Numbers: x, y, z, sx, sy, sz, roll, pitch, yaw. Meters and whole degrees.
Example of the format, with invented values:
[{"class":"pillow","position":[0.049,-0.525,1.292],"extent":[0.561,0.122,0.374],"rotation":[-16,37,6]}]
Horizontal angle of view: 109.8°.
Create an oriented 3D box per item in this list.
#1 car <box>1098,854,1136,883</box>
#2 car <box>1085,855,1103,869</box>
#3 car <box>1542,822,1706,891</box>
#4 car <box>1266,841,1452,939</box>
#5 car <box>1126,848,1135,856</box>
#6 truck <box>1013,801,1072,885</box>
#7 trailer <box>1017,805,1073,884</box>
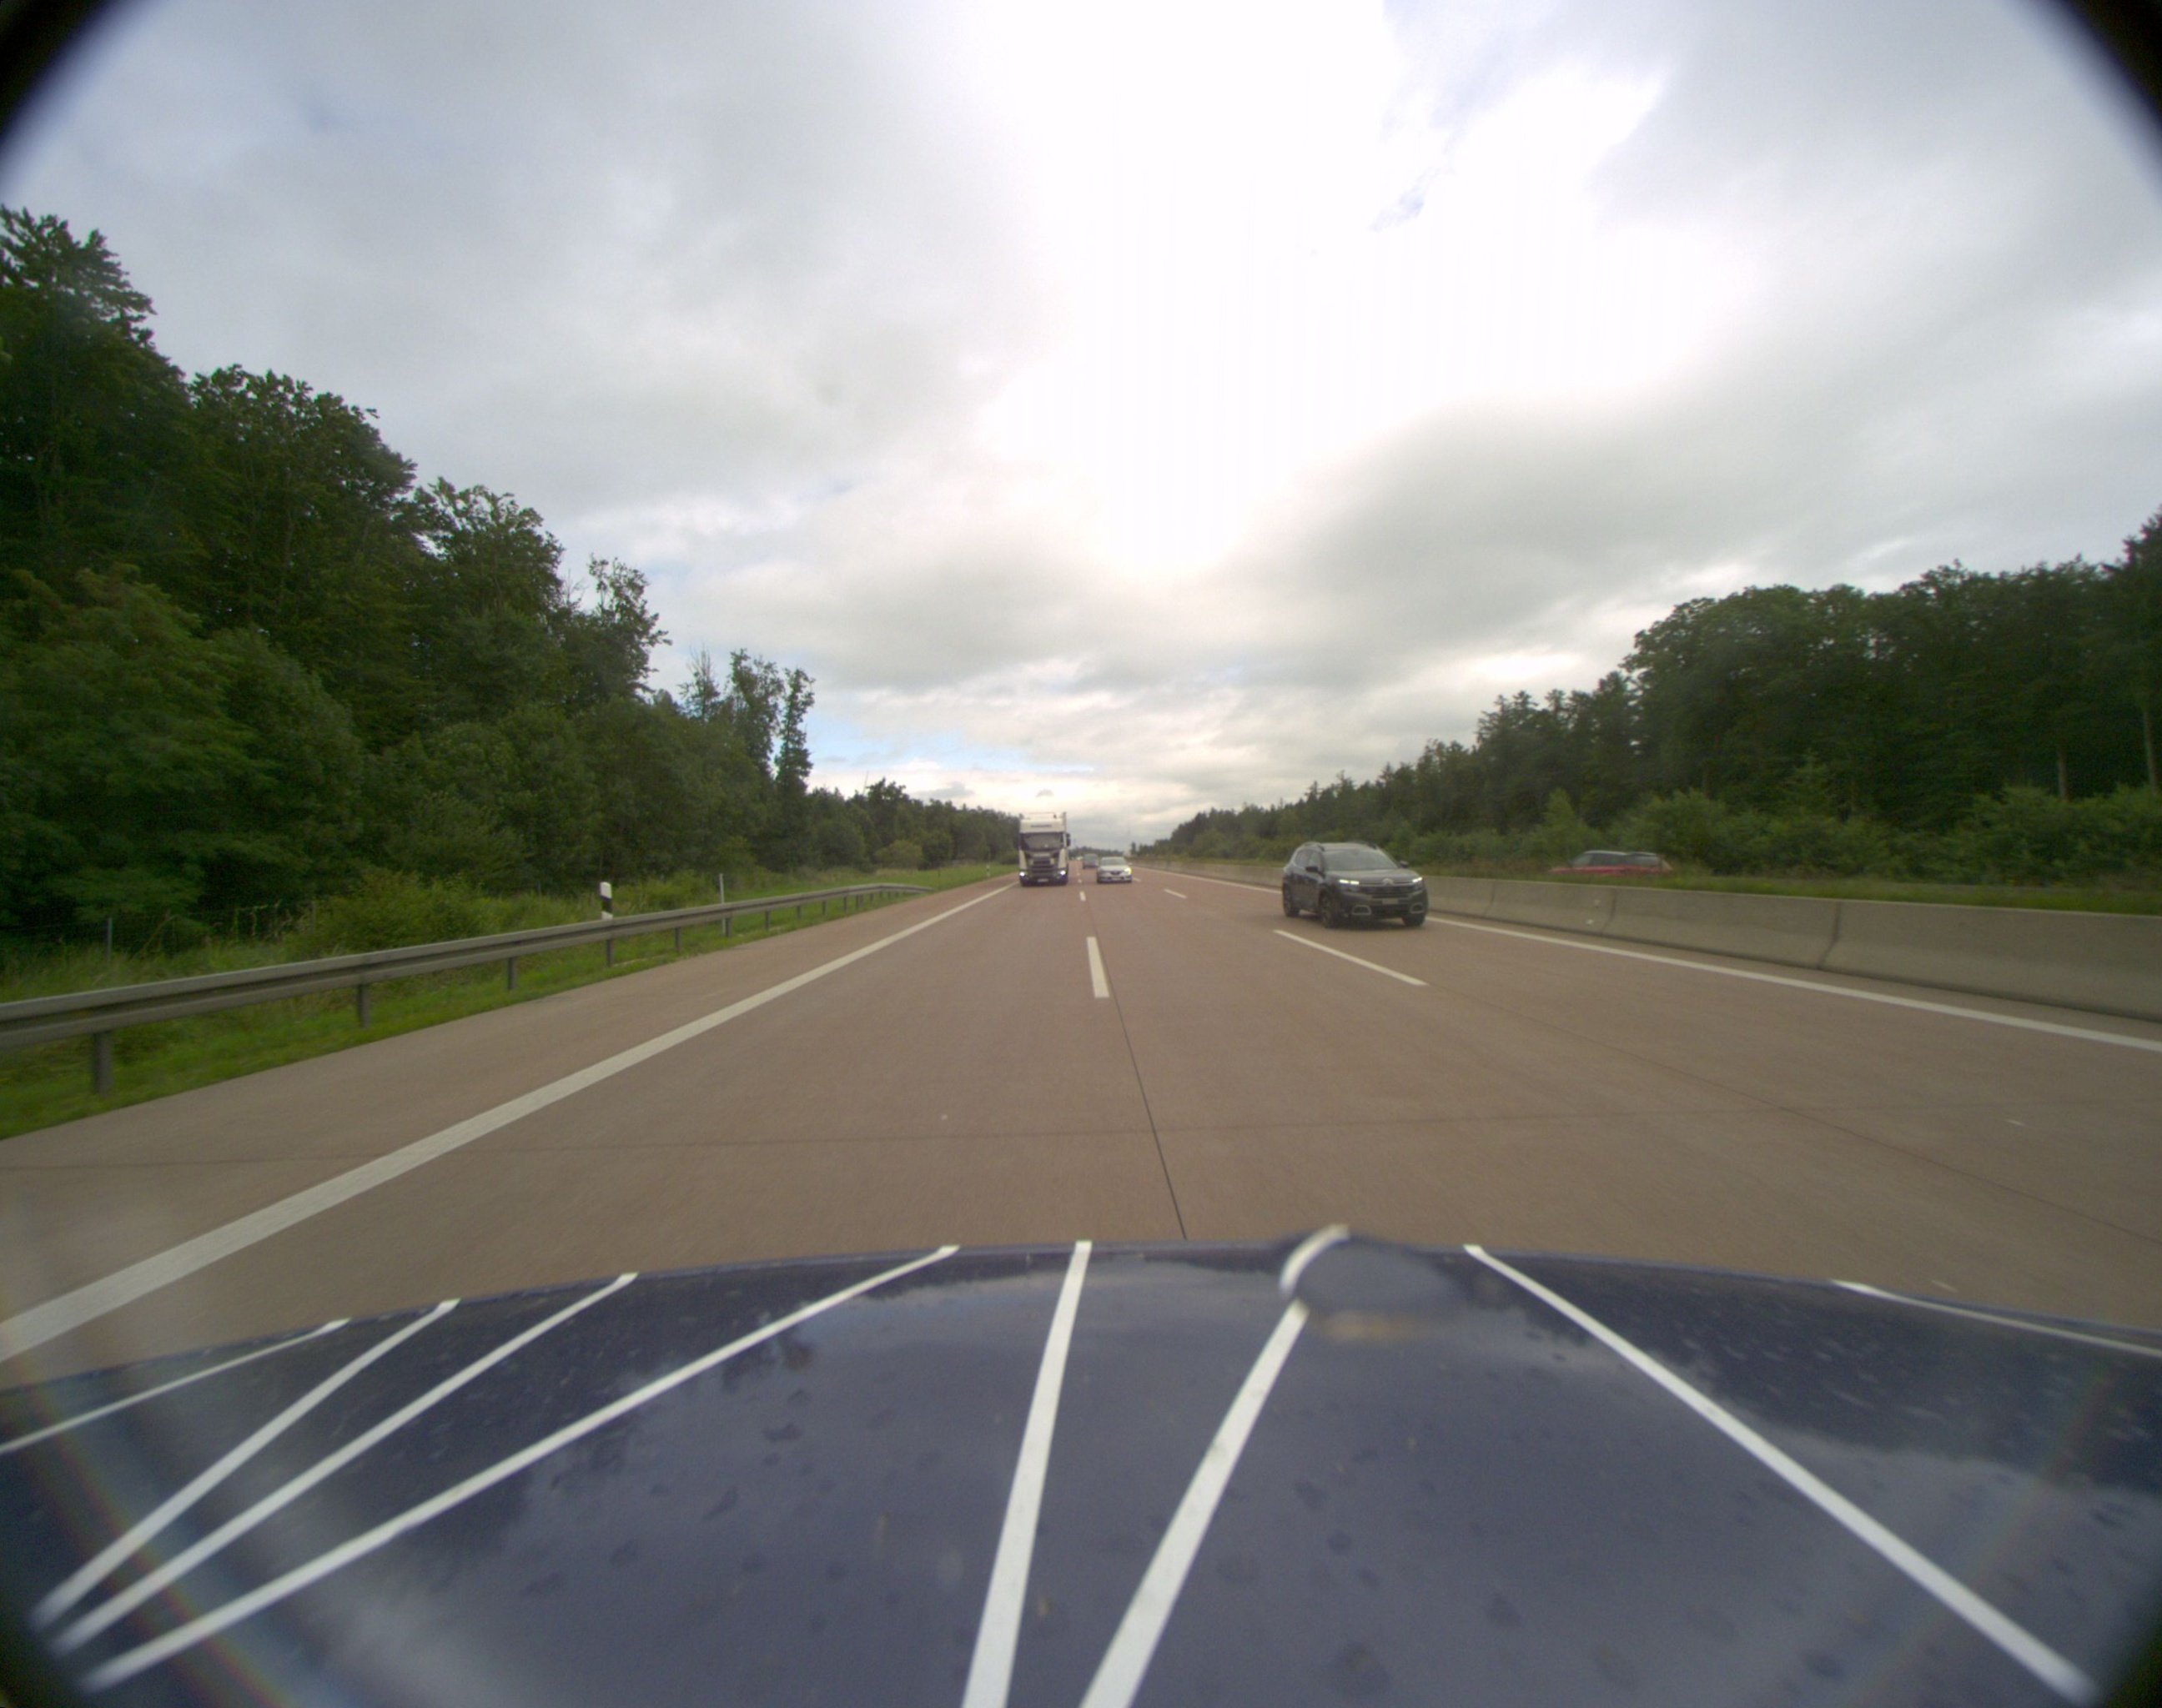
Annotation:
[{"class":"car","position":[1.980,0.769,42.346],"extent":[1.923,1.515,4.001],"rotation":[-2,0,2]},{"class":"car","position":[1.422,0.903,86.680],"extent":[1.986,1.499,4.052],"rotation":[-2,0,0]},{"class":"car","position":[16.504,0.068,23.420],"extent":[1.998,1.823,4.165],"rotation":[-4,0,0]},{"class":"car","position":[5.582,0.625,16.150],"extent":[1.998,1.689,5.252],"rotation":[-2,0,0]},{"class":"car","position":[13.486,-0.499,209.103],"extent":[2.078,2.129,7.488],"rotation":[-2,0,1]},{"class":"truck","position":[-2.016,-0.569,41.769],"extent":[2.929,4.269,5.334],"rotation":[-2,0,0]},{"class":"trailer","position":[-2.053,-0.564,48.819],"extent":[2.929,4.269,13.612],"rotation":[-2,0,0]}]
